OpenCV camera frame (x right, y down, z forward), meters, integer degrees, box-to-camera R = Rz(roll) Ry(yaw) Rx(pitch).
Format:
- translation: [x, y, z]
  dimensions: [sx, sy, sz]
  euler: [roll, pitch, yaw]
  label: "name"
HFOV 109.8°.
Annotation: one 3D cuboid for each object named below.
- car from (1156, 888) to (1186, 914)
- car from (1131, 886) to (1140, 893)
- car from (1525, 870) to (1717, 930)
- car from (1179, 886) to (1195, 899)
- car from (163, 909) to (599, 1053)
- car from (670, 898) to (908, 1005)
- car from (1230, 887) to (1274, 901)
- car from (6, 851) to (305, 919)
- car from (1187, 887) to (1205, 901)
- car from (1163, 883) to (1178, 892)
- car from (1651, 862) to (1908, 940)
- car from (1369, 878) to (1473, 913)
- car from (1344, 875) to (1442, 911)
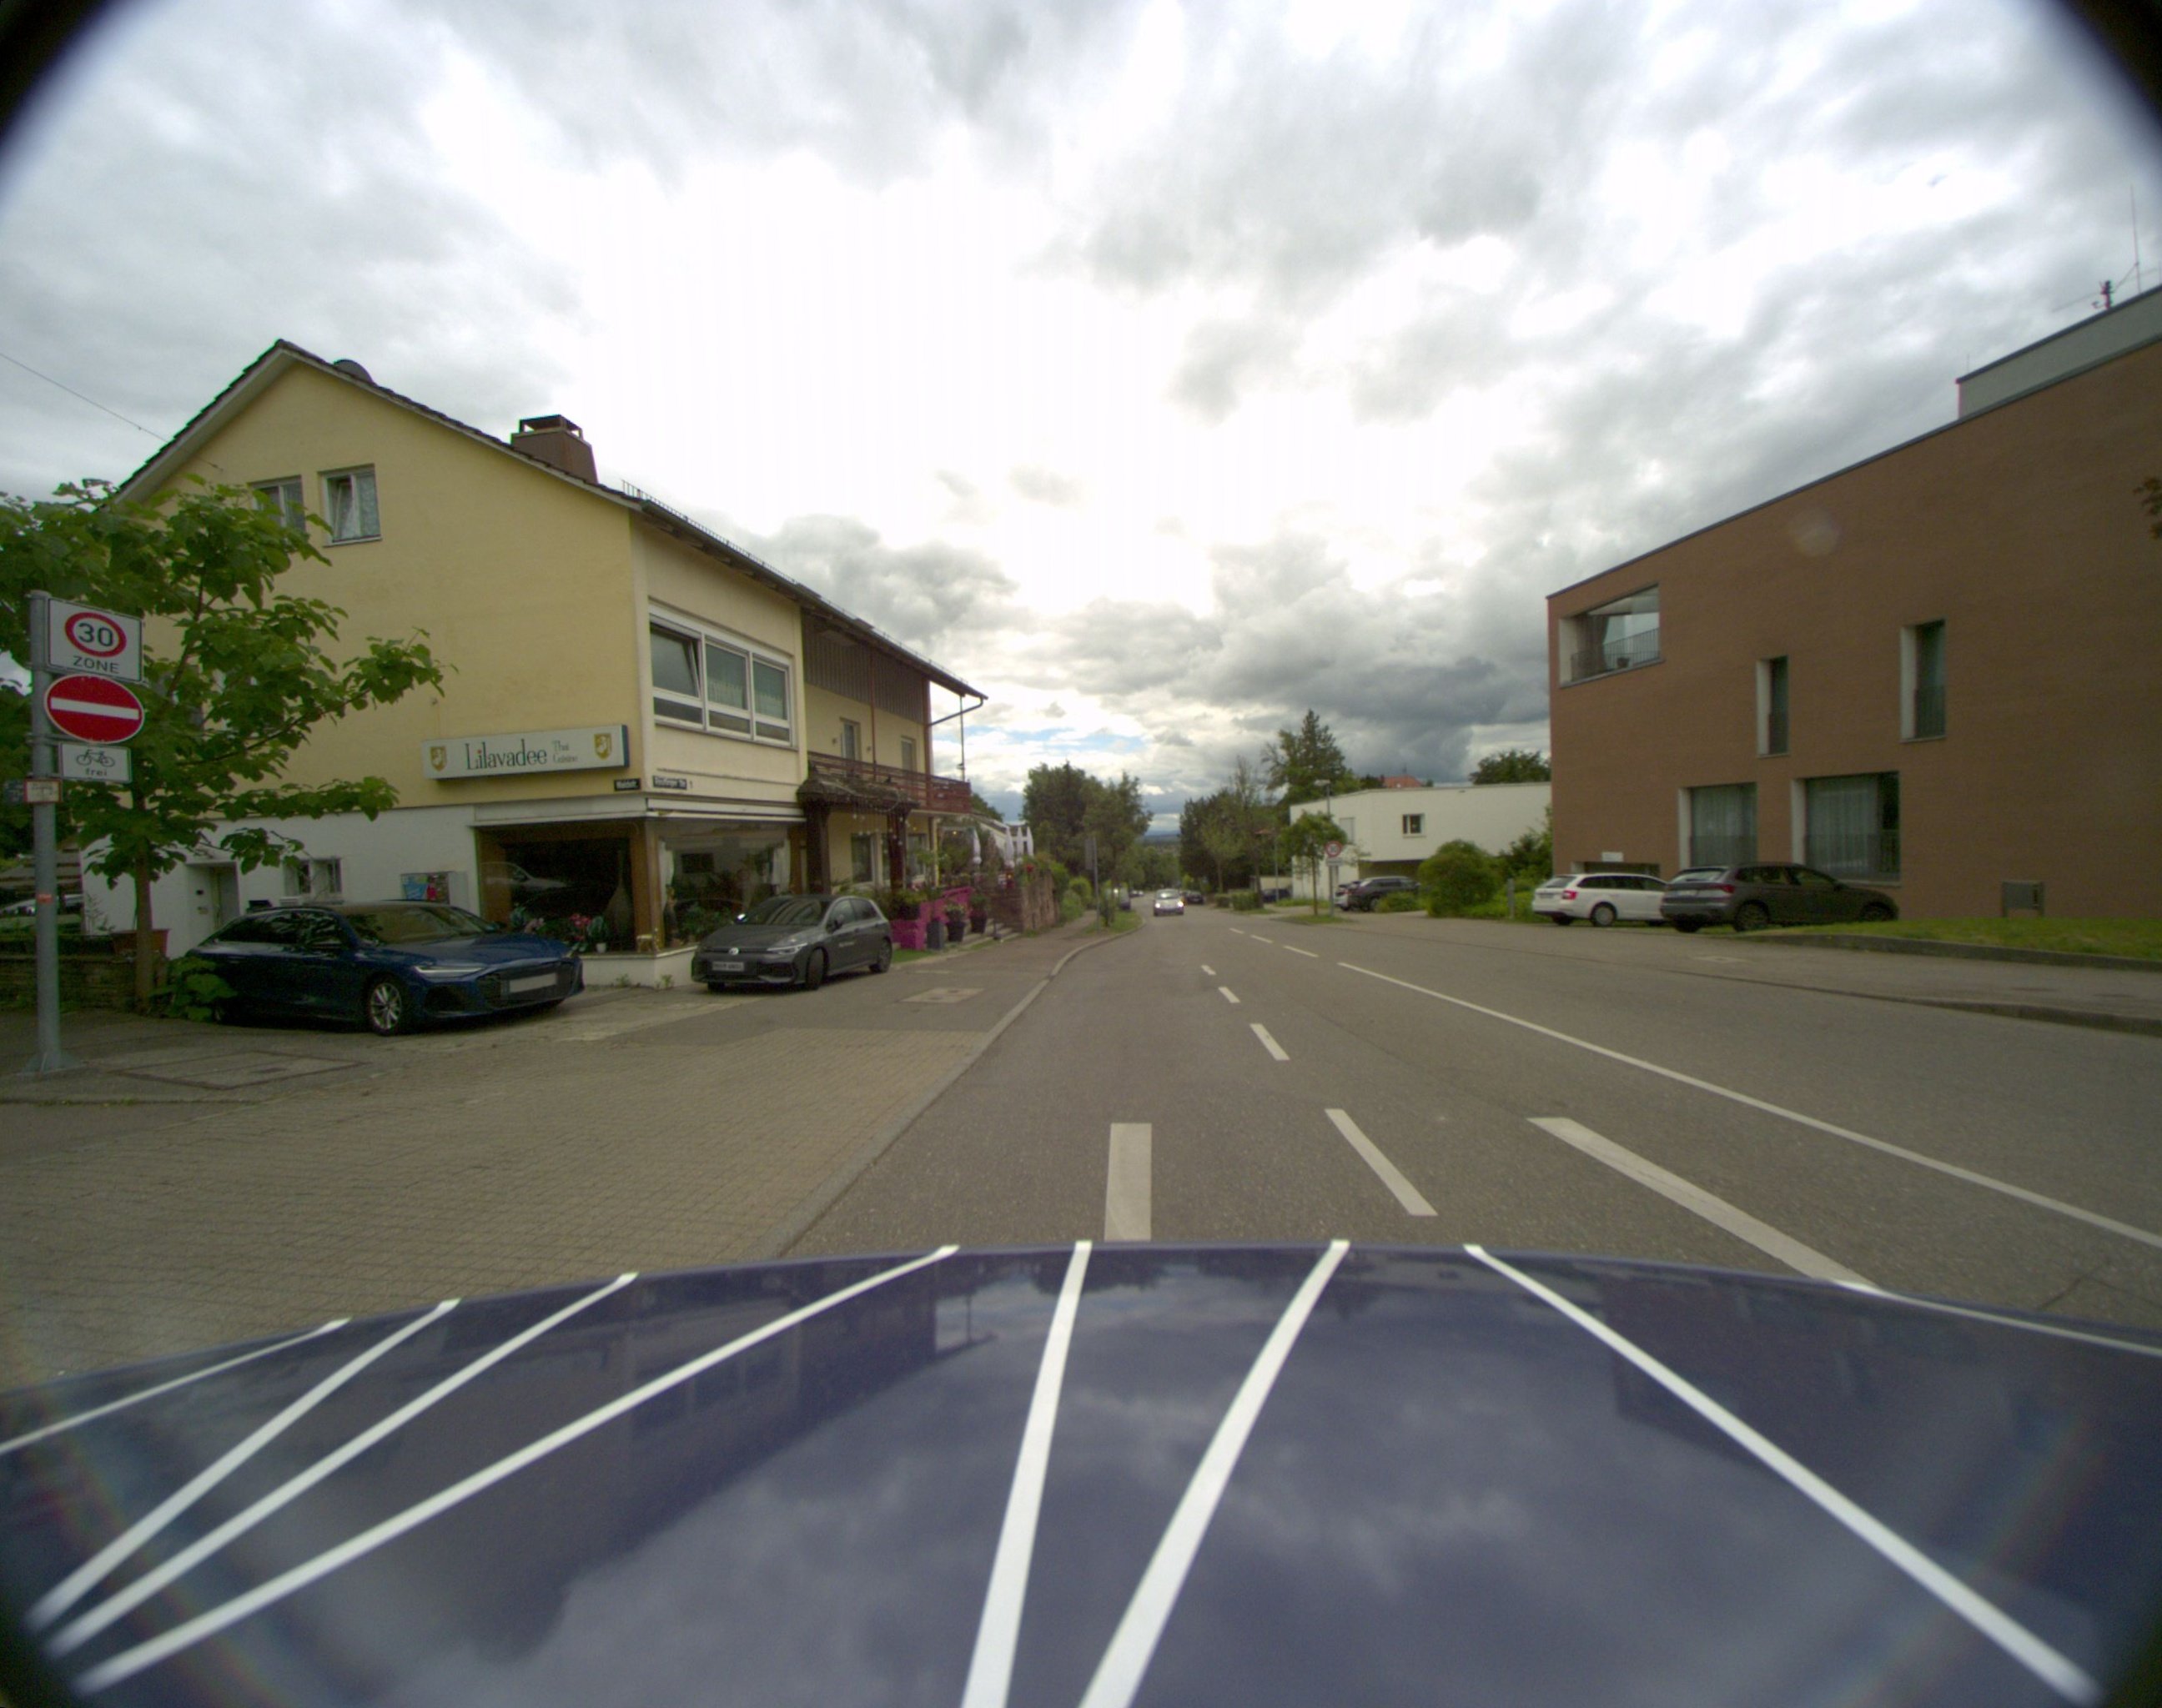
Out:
- translation: [5.538, 2.892, 46.944]
  dimensions: [1.725, 1.476, 4.004]
  euler: [-2, -3, 6]
  label: "car"
- translation: [13.150, 8.577, 184.375]
  dimensions: [1.883, 1.412, 4.369]
  euler: [-1, -1, 1]
  label: "car"
- translation: [14.627, 1.243, 20.715]
  dimensions: [3.998, 1.476, 1.727]
  euler: [-1, -3, -3]
  label: "car"
- translation: [12.514, 4.550, 89.578]
  dimensions: [1.661, 1.412, 4.372]
  euler: [-2, -3, 6]
  label: "car"
- translation: [-8.519, 1.414, 9.293]
  dimensions: [4.739, 1.378, 1.802]
  euler: [-2, -1, 18]
  label: "car"
- translation: [-4.533, 1.475, 12.630]
  dimensions: [1.796, 1.452, 4.332]
  euler: [-1, -4, 8]
  label: "car"
- translation: [16.562, 3.881, 73.731]
  dimensions: [3.995, 1.278, 1.665]
  euler: [-2, -3, 7]
  label: "car"
- translation: [-22.633, 0.819, 18.860]
  dimensions: [1.795, 1.452, 4.336]
  euler: [-2, -4, 22]
  label: "car"
- translation: [12.196, 4.276, 80.582]
  dimensions: [1.661, 1.412, 4.004]
  euler: [-2, -3, 6]
  label: "car"
- translation: [16.227, 6.063, 137.975]
  dimensions: [1.884, 1.412, 4.368]
  euler: [-1, -1, -2]
  label: "car"
- translation: [14.924, 0.994, 16.369]
  dimensions: [3.998, 1.476, 1.727]
  euler: [-1, -3, -3]
  label: "car"
- translation: [15.613, 1.895, 35.038]
  dimensions: [3.996, 1.476, 1.728]
  euler: [-2, -3, 3]
  label: "car"
- translation: [15.068, 1.893, 36.879]
  dimensions: [3.996, 1.585, 1.795]
  euler: [-2, -3, 3]
  label: "car"
